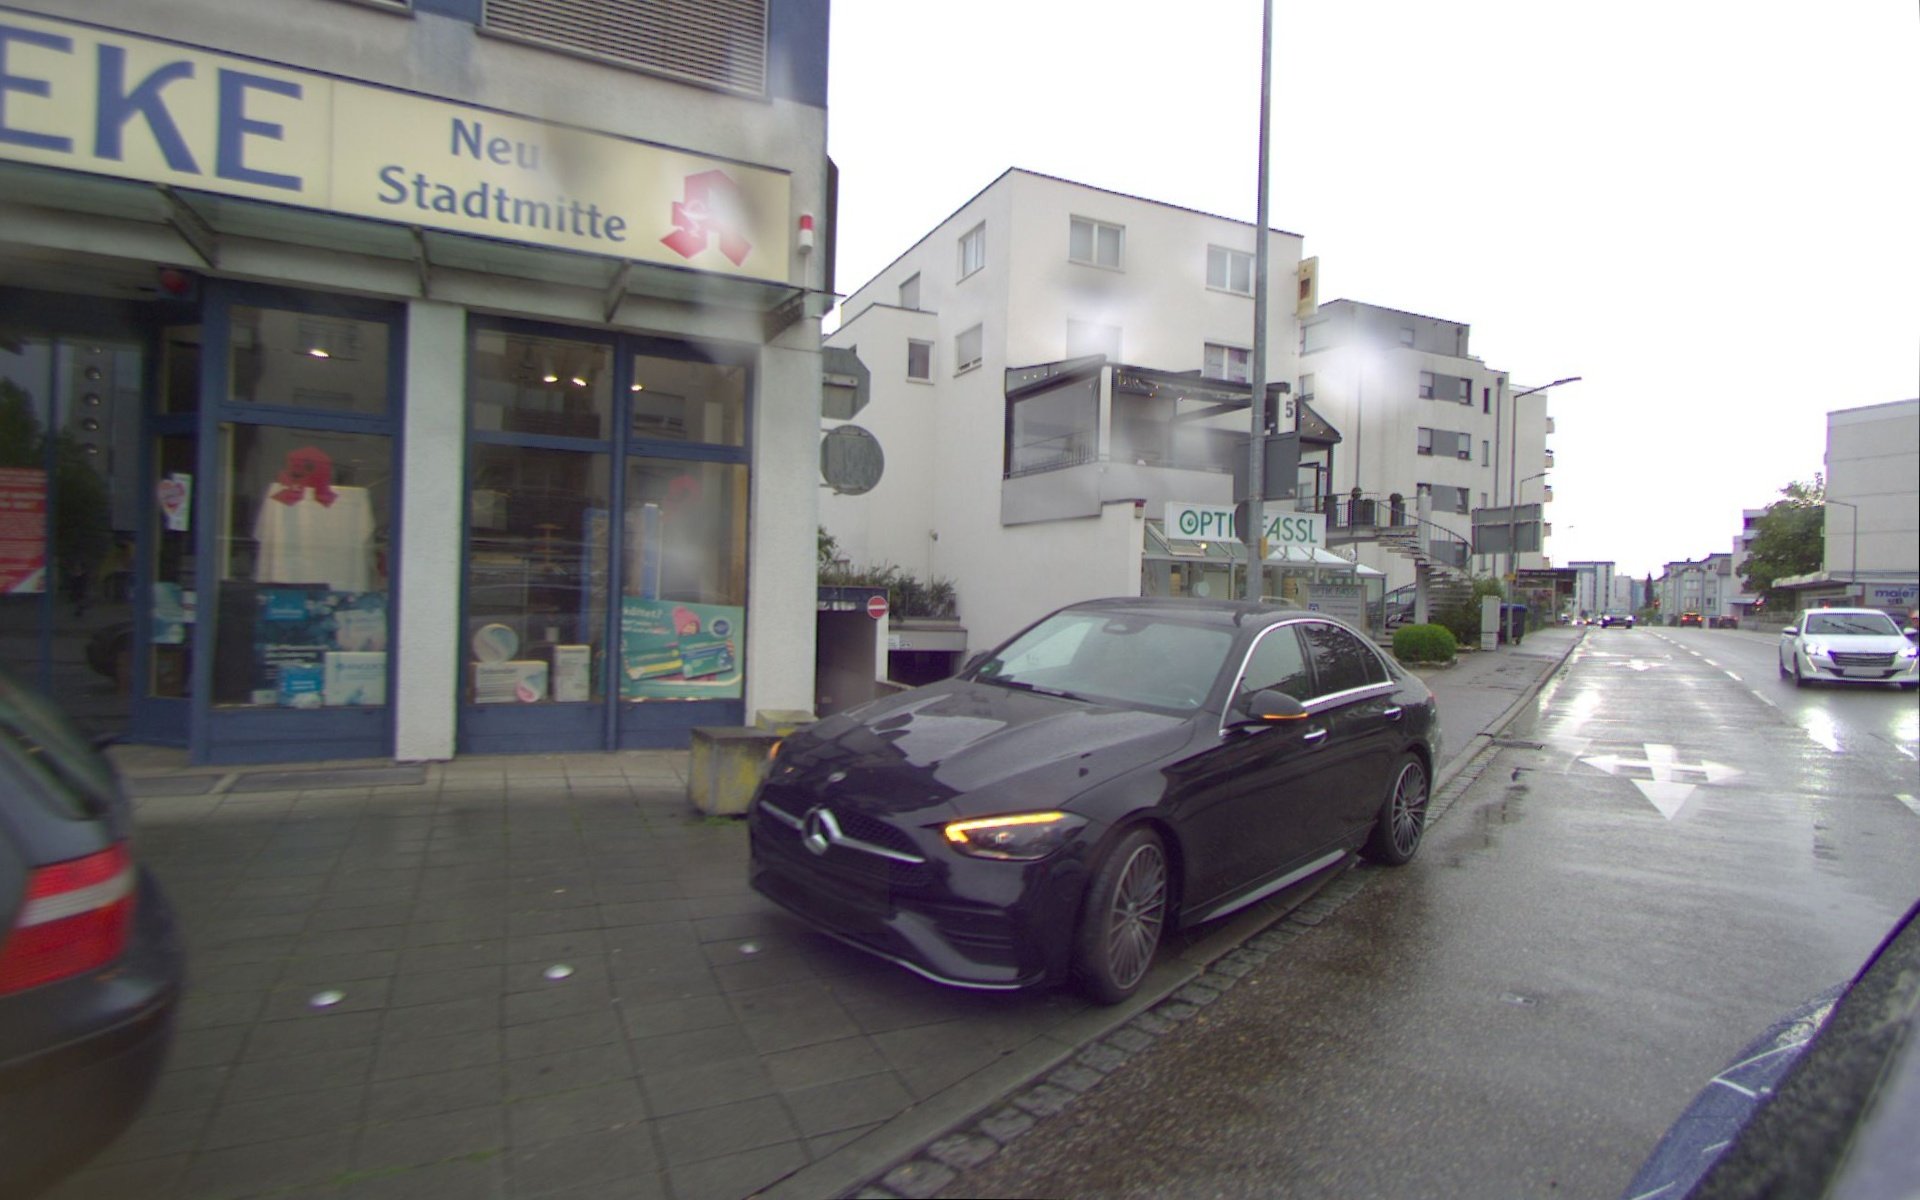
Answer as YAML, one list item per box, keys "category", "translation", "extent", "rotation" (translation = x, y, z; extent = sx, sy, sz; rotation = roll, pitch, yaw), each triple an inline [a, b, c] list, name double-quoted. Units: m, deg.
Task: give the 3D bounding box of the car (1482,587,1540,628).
- category: "car"
  translation: [26.282, 0.349, 48.199]
  extent: [1.986, 1.808, 4.633]
  rotation: [2, 0, 34]

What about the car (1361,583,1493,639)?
- category: "car"
  translation: [17.991, 0.418, 38.988]
  extent: [4.679, 2.039, 2.004]
  rotation: [1, 0, -23]

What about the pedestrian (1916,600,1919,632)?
- category: "pedestrian"
  translation: [49.541, 0.827, 51.559]
  extent: [0.863, 1.627, 1.094]
  rotation: [1, 1, 26]

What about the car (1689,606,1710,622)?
- category: "car"
  translation: [79.326, 1.506, 108.539]
  extent: [1.798, 1.577, 4.261]
  rotation: [1, -1, 36]

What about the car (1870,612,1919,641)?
- category: "car"
  translation: [59.298, 1.700, 62.872]
  extent: [4.377, 1.565, 2.005]
  rotation: [3, 2, -15]

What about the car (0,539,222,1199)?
- category: "car"
  translation: [-3.411, 0.626, 1.126]
  extent: [1.699, 1.504, 3.937]
  rotation: [6, 3, 43]

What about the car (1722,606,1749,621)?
- category: "car"
  translation: [81.626, 1.426, 106.503]
  extent: [1.690, 1.426, 3.956]
  rotation: [4, 1, 30]

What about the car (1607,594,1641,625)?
- category: "car"
  translation: [47.790, 0.699, 72.815]
  extent: [1.986, 2.039, 3.950]
  rotation: [1, -1, 34]

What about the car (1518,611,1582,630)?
- category: "car"
  translation: [49.710, 1.726, 85.319]
  extent: [1.835, 1.513, 4.276]
  rotation: [3, -2, -29]

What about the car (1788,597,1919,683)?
- category: "car"
  translation: [17.150, 0.741, 19.401]
  extent: [1.821, 1.458, 4.285]
  rotation: [0, -1, 37]

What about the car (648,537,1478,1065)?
- category: "car"
  translation: [0.946, 0.626, 5.349]
  extent: [1.993, 1.553, 4.573]
  rotation: [0, -1, 43]
